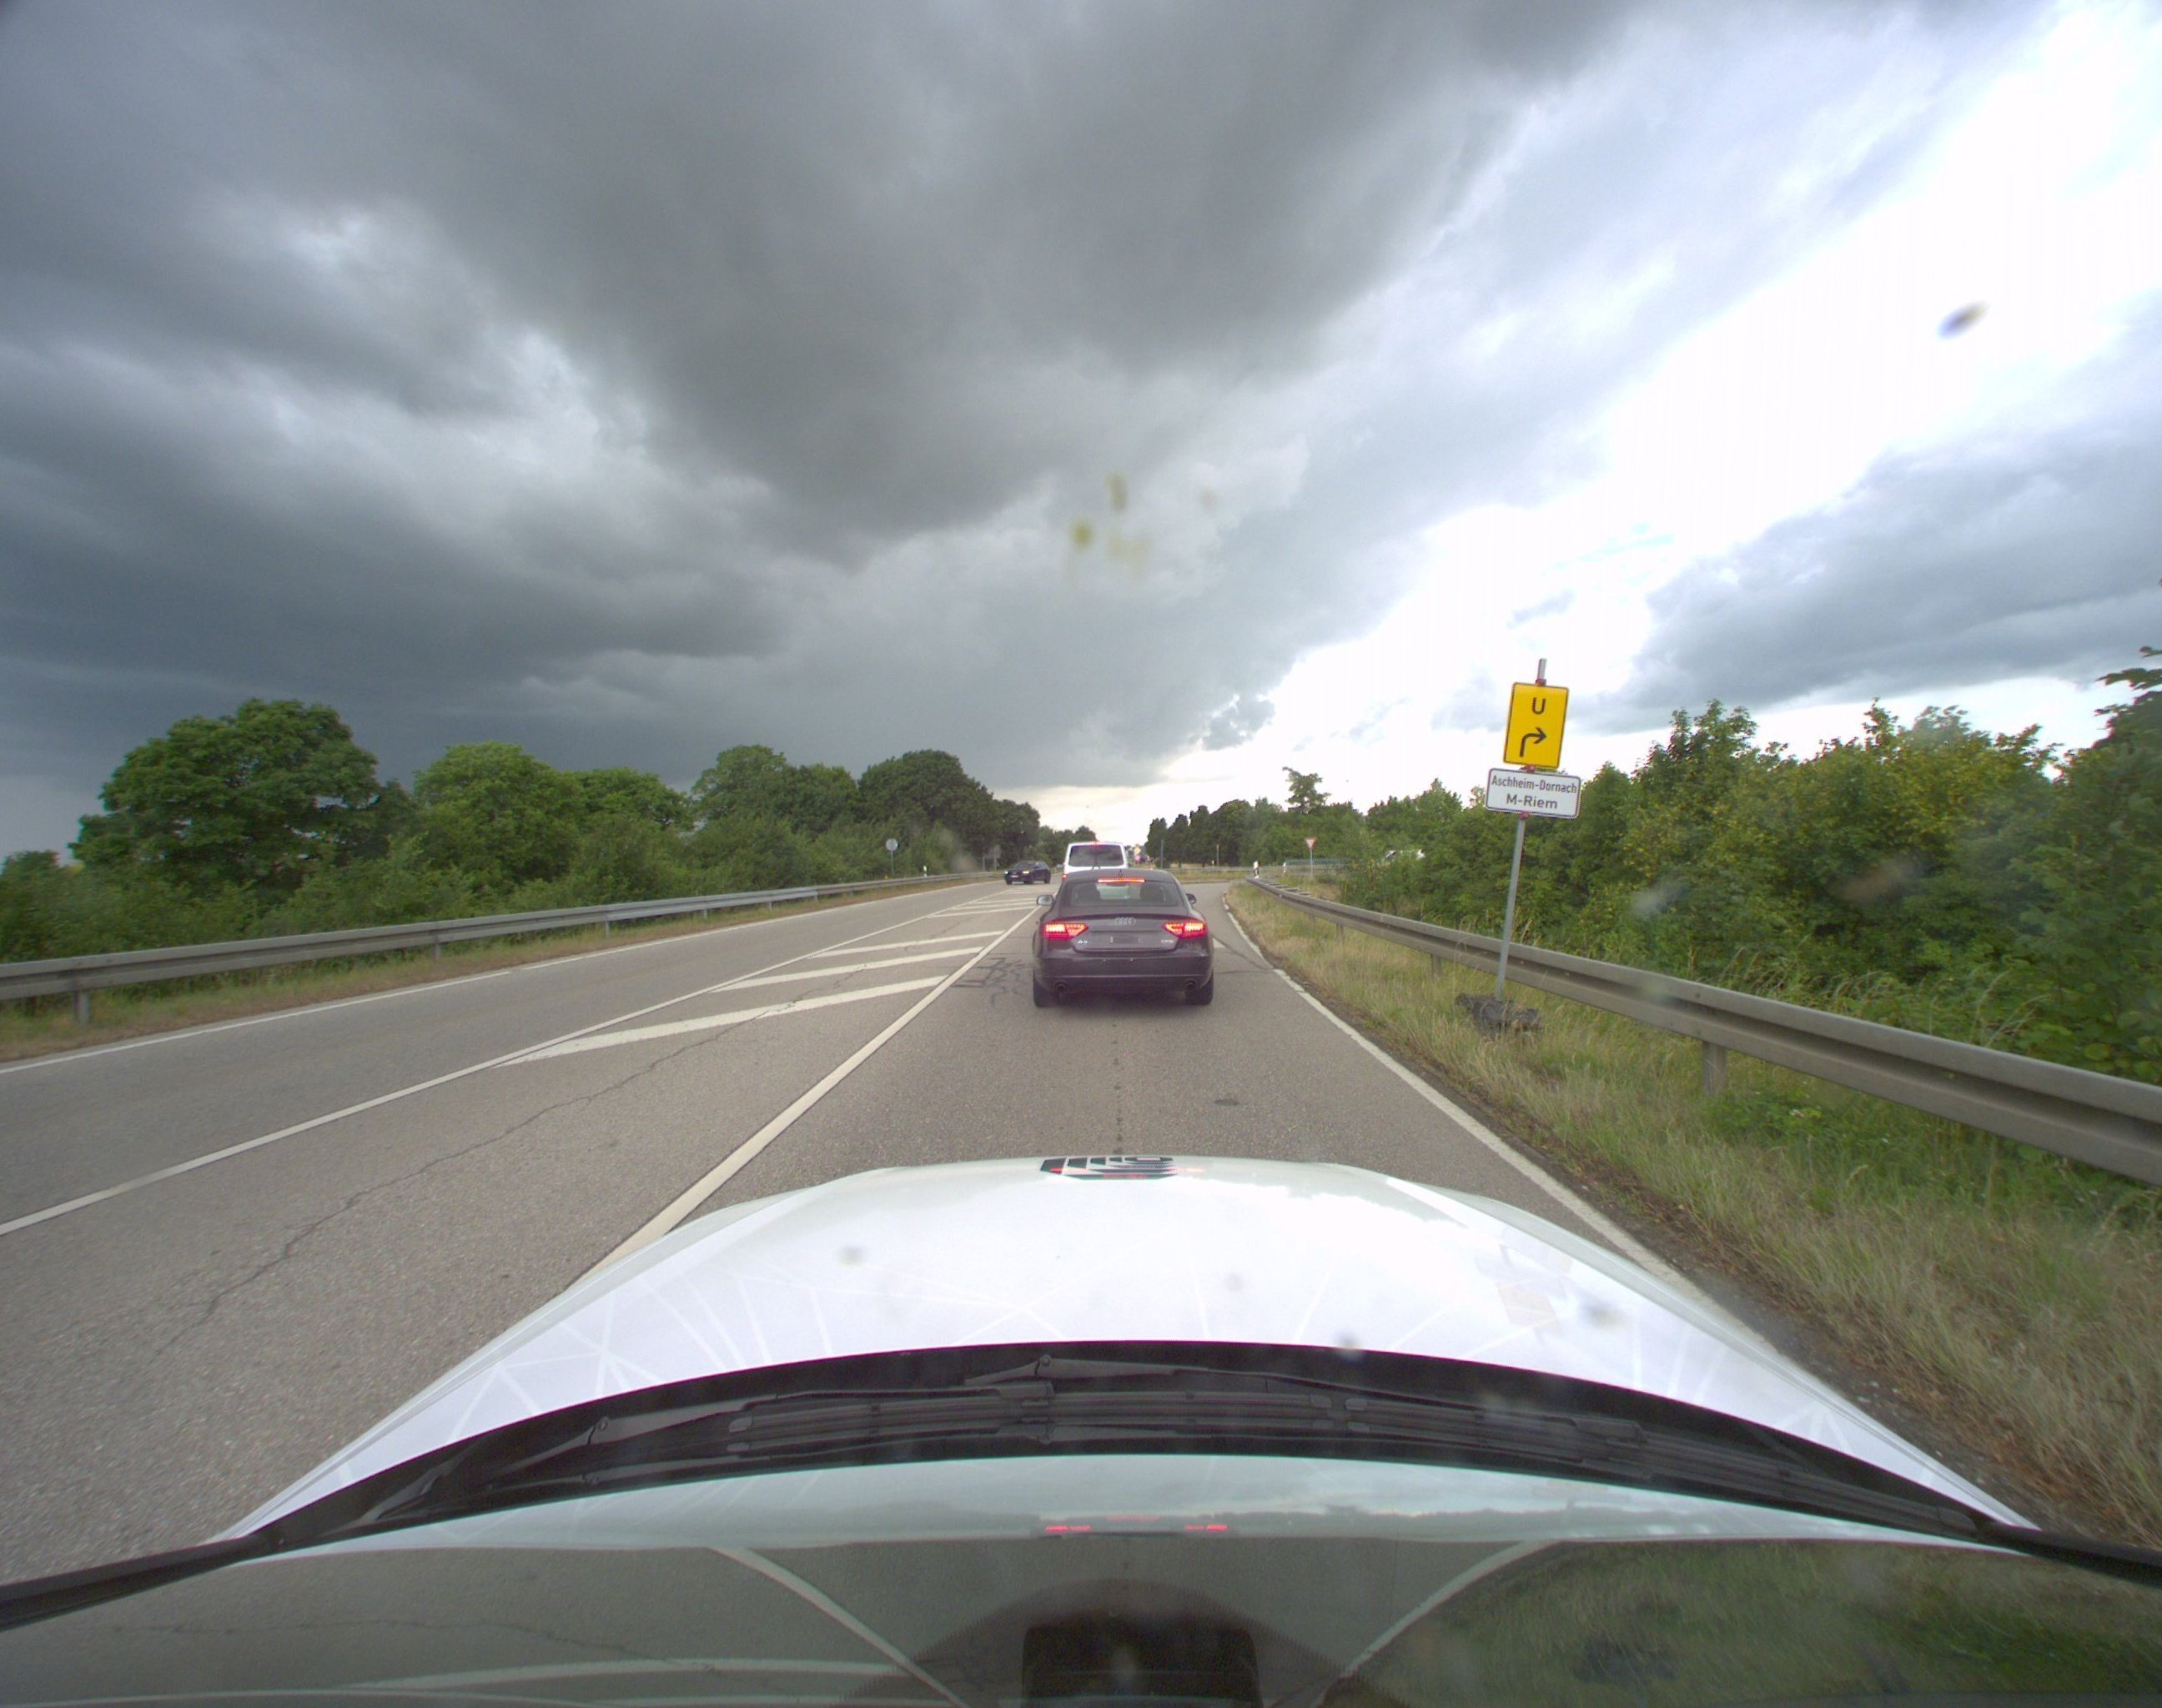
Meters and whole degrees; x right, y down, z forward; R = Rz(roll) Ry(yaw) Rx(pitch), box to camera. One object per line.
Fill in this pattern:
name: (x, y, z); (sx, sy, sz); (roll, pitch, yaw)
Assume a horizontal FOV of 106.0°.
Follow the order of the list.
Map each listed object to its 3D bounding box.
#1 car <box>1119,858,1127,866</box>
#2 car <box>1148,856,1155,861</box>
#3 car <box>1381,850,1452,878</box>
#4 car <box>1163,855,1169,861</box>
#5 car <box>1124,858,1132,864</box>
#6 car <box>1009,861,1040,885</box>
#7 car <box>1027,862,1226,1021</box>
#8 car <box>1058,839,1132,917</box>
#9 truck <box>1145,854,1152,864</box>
car: (10.633, 2.070, 205.670); (1.985, 2.013, 4.003); (-1, 0, 3)
car: (21.361, 1.337, 246.779); (1.985, 1.692, 4.004); (-1, 0, 3)
car: (26.837, 0.775, 65.258); (4.834, 2.064, 2.092); (2, 0, 7)
car: (25.055, 1.274, 239.615); (1.865, 1.692, 4.008); (-1, 0, 7)
car: (12.922, 1.910, 223.683); (2.198, 1.582, 4.379); (-1, 0, 1)
car: (-3.754, 1.238, 54.572); (1.704, 1.518, 4.210); (-1, 0, 1)
car: (0.426, 0.804, 9.032); (1.774, 1.398, 3.336); (-1, 0, 0)
car: (0.397, 0.615, 23.079); (1.904, 2.013, 4.000); (-1, 0, 1)
truck: (19.016, 1.354, 228.716); (1.985, 2.918, 5.799); (-1, 0, 4)
